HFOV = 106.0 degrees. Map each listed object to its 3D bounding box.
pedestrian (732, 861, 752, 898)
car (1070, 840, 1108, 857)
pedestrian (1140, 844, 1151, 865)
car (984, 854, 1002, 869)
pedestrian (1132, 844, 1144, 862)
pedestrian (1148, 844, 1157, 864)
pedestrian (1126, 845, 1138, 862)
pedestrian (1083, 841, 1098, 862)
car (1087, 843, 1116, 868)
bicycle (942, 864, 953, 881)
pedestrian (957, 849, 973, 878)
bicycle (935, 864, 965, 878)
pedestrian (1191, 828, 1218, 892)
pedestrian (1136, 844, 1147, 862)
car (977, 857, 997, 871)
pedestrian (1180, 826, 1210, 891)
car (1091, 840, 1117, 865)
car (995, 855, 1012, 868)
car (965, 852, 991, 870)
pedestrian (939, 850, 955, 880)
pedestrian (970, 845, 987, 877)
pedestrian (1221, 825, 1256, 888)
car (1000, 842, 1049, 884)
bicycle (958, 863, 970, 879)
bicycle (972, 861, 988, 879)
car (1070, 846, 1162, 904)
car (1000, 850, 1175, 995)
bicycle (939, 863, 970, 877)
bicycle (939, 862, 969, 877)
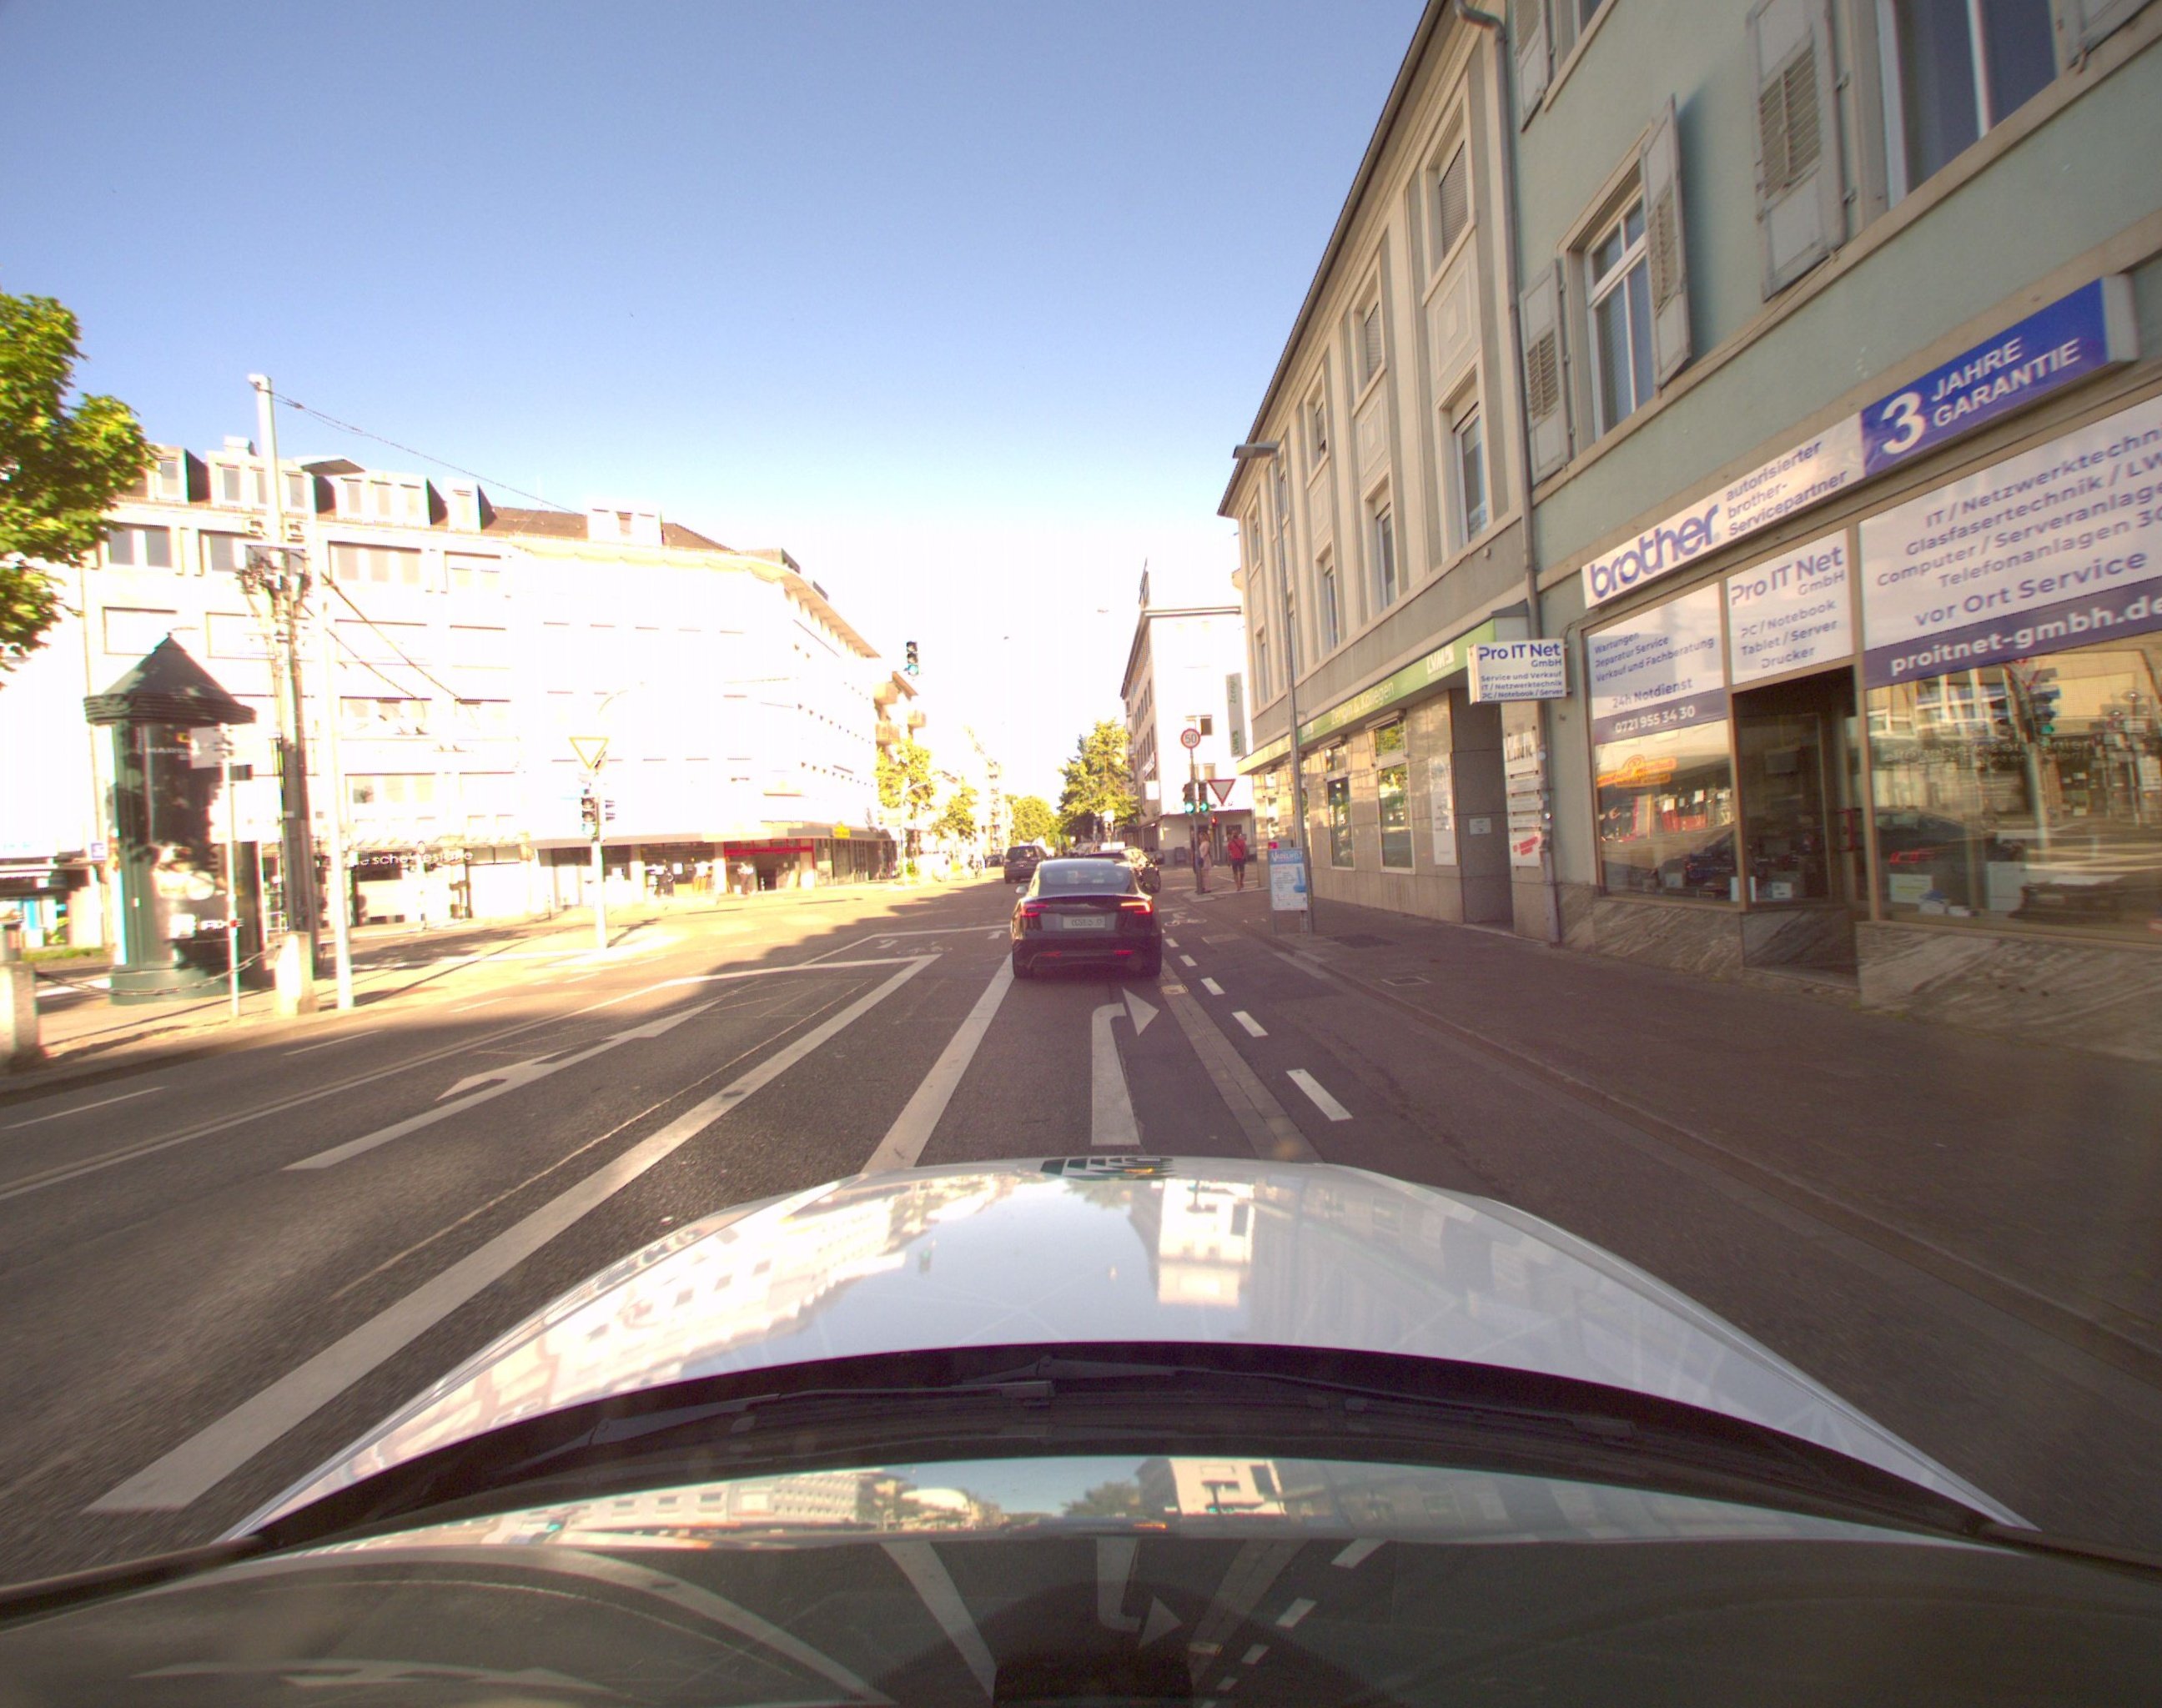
[{"bbox_3d":[-16.063,1.197,38.637,0.557,1.709,0.711,-4,0,-3],"label":"pedestrian"},{"bbox_3d":[1.181,-0.800,121.832,5.377,2.145,1.999,-4,0,-2],"label":"car"},{"bbox_3d":[4.306,0.041,54.477,0.584,1.312,0.560,-4,0,0],"label":"pedestrian"},{"bbox_3d":[-10.357,0.889,95.947,1.713,1.610,3.596,-4,0,-1],"label":"car"},{"bbox_3d":[4.452,-0.055,63.974,0.729,1.347,1.059,-4,0,-3],"label":"pedestrian"},{"bbox_3d":[4.856,-0.003,55.263,0.485,1.322,0.655,-4,0,7],"label":"pedestrian"},{"bbox_3d":[4.050,-0.038,65.078,0.708,1.347,1.058,-4,0,-4],"label":"pedestrian"},{"bbox_3d":[0.890,-0.266,76.573,0.950,1.915,1.110,-4,0,16],"label":"pedestrian"},{"bbox_3d":[1.466,0.089,60.116,1.994,1.636,4.288,-4,0,0],"label":"car"},{"bbox_3d":[-8.076,1.100,49.136,0.481,0.955,1.448,-4,0,-14],"label":"bicycle"},{"bbox_3d":[-7.124,0.595,49.960,0.779,1.727,0.556,-3,0,-15],"label":"pedestrian"},{"bbox_3d":[-10.220,1.311,63.354,2.222,0.958,0.653,-4,0,-13],"label":"bicycle"},{"bbox_3d":[3.520,0.173,23.183,0.571,1.759,0.649,-3,0,-1],"label":"pedestrian"},{"bbox_3d":[4.829,-0.097,65.248,0.728,1.360,0.958,-4,0,-1],"label":"pedestrian"},{"bbox_3d":[-10.521,1.057,91.093,1.781,1.402,3.903,-3,0,-2],"label":"car"},{"bbox_3d":[3.316,0.123,23.724,0.638,1.842,0.681,-4,0,-1],"label":"pedestrian"},{"bbox_3d":[1.854,-0.148,66.548,1.898,1.852,4.288,-4,0,0],"label":"car"},{"bbox_3d":[-9.614,0.938,100.808,1.781,1.402,3.903,-3,0,-2],"label":"car"},{"bbox_3d":[-10.490,0.708,83.135,1.986,1.598,4.001,-3,0,1],"label":"car"},{"bbox_3d":[-8.012,0.666,48.811,0.792,1.712,0.651,-3,0,-15],"label":"pedestrian"},{"bbox_3d":[-6.283,0.422,49.884,0.779,1.866,0.996,-6,1,-15],"label":"pedestrian"},{"bbox_3d":[4.490,0.061,23.239,0.687,1.703,0.912,-5,0,1],"label":"pedestrian"},{"bbox_3d":[-2.589,0.387,38.397,1.898,1.733,4.288,-4,0,0],"label":"car"},{"bbox_3d":[-7.181,1.035,49.831,0.552,0.968,1.787,-4,0,-12],"label":"bicycle"},{"bbox_3d":[-6.202,0.965,49.903,0.759,1.007,1.718,-7,1,-12],"label":"bicycle"},{"bbox_3d":[1.113,0.532,23.472,1.749,1.418,4.371,-3,0,14],"label":"car"},{"bbox_3d":[0.104,0.753,11.259,1.863,1.427,4.365,-4,1,1],"label":"car"},{"bbox_3d":[-10.188,1.271,65.405,2.390,0.977,0.653,-4,0,-11],"label":"bicycle"},{"bbox_3d":[-10.326,1.272,66.237,2.398,1.005,0.653,-4,0,-12],"label":"bicycle"}]
